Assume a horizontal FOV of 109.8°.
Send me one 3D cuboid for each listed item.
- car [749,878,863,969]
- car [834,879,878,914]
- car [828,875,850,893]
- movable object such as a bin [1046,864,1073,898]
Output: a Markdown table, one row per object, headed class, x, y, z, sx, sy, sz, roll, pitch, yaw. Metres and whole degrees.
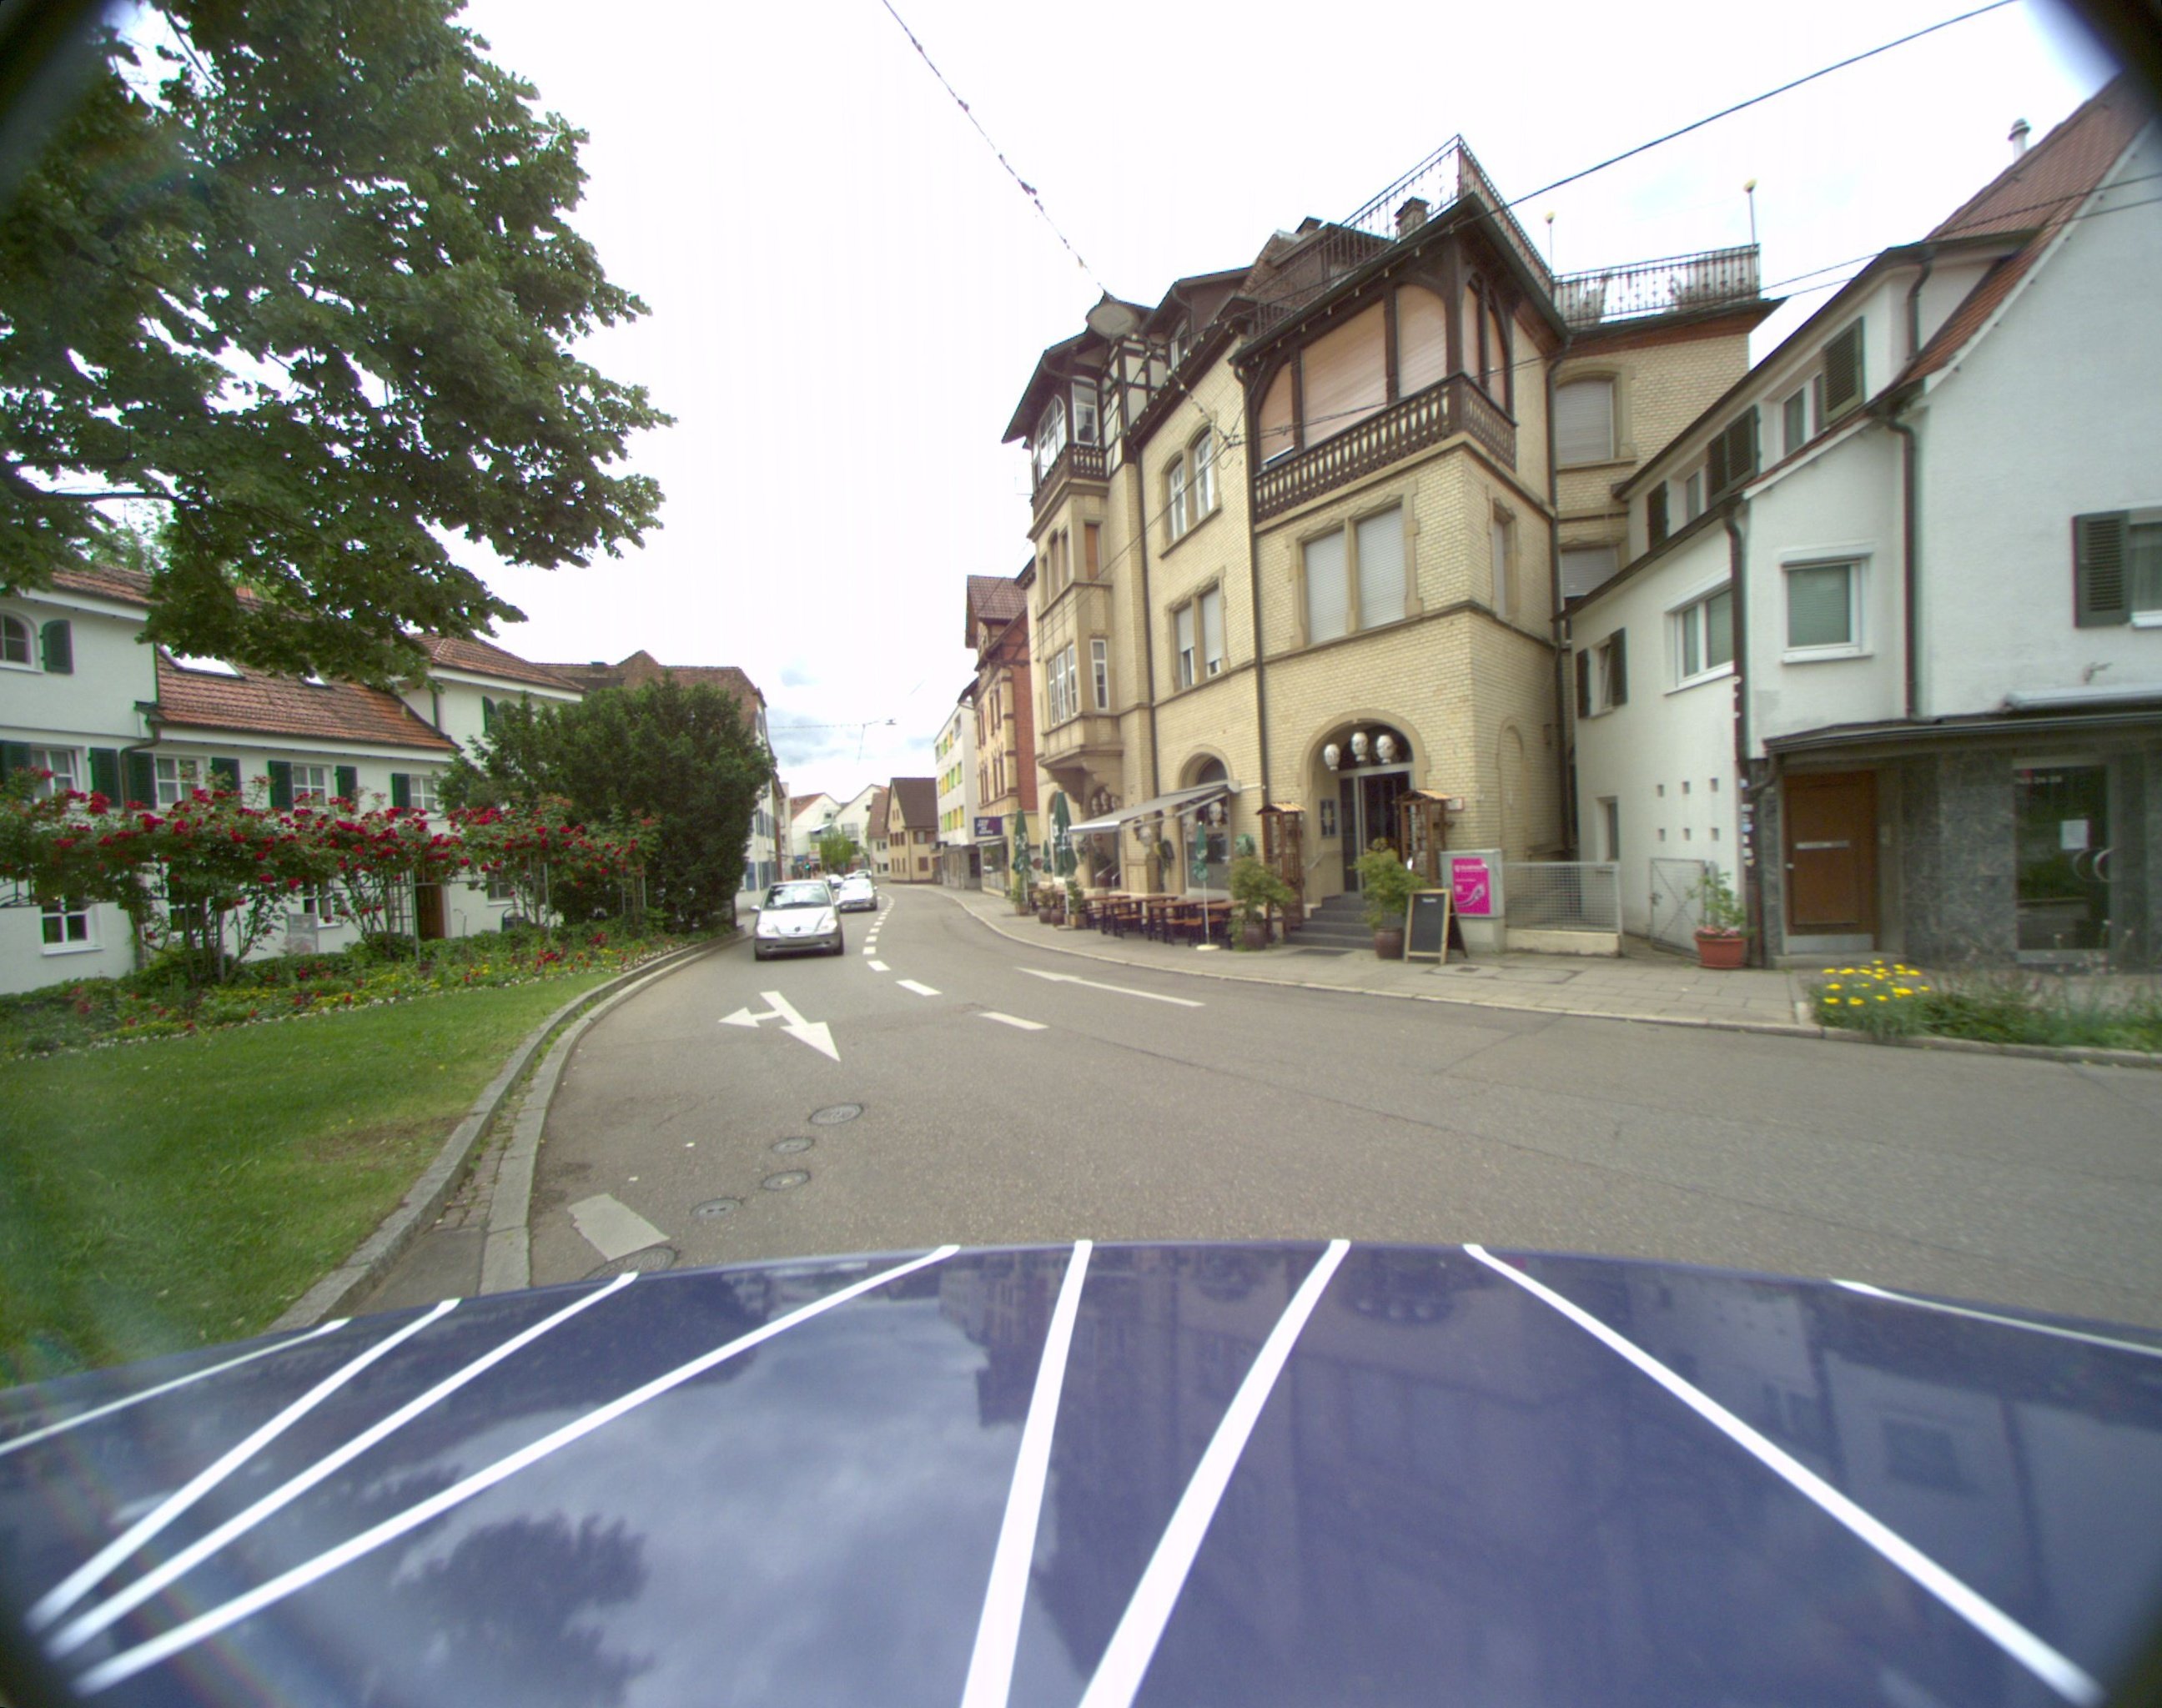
| class | x | y | z | sx | sy | sz | roll | pitch | yaw |
| --- | --- | --- | --- | --- | --- | --- | --- | --- | --- |
| car | -5.928 | 1.405 | 16.815 | 1.897 | 1.617 | 3.996 | -3 | 0 | -14 |
| car | -10.383 | 1.926 | 35.242 | 1.757 | 1.347 | 3.995 | -4 | 0 | -15 |
| car | -25.654 | 3.114 | 80.597 | 2.003 | 1.618 | 3.993 | -5 | 1 | -19 |
| movable object such as a bin | -0.966 | 1.202 | 33.780 | 0.945 | 1.371 | 0.822 | -6 | 4 | -13 |
